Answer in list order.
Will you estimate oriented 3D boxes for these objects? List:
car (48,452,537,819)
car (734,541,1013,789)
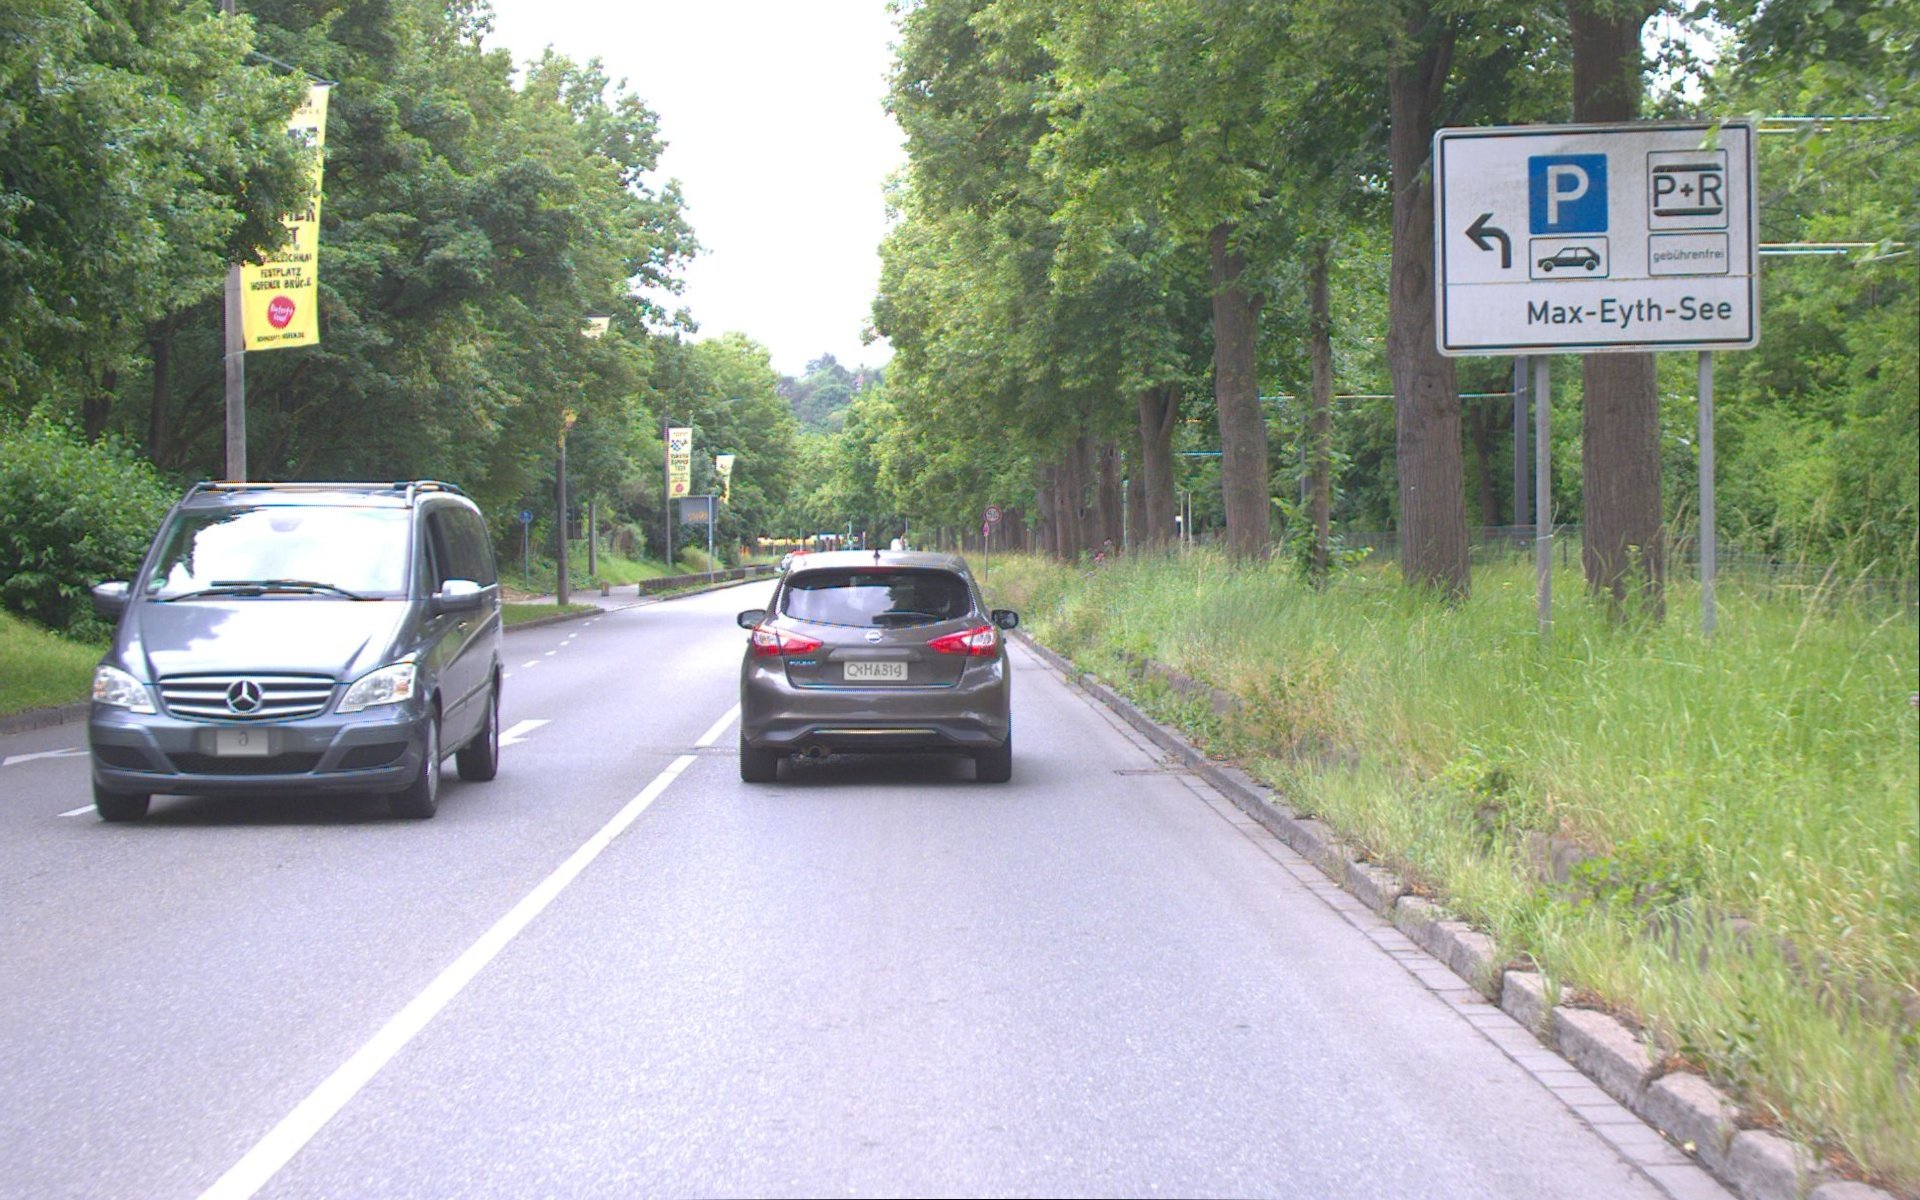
[{"bbox_3d":[-3.895,0.162,21.002,1.993,1.949,5.184,-1,1,0],"label":"car"},{"bbox_3d":[-0.594,0.384,23.353,1.730,1.532,3.552,1,1,-2],"label":"car"}]
